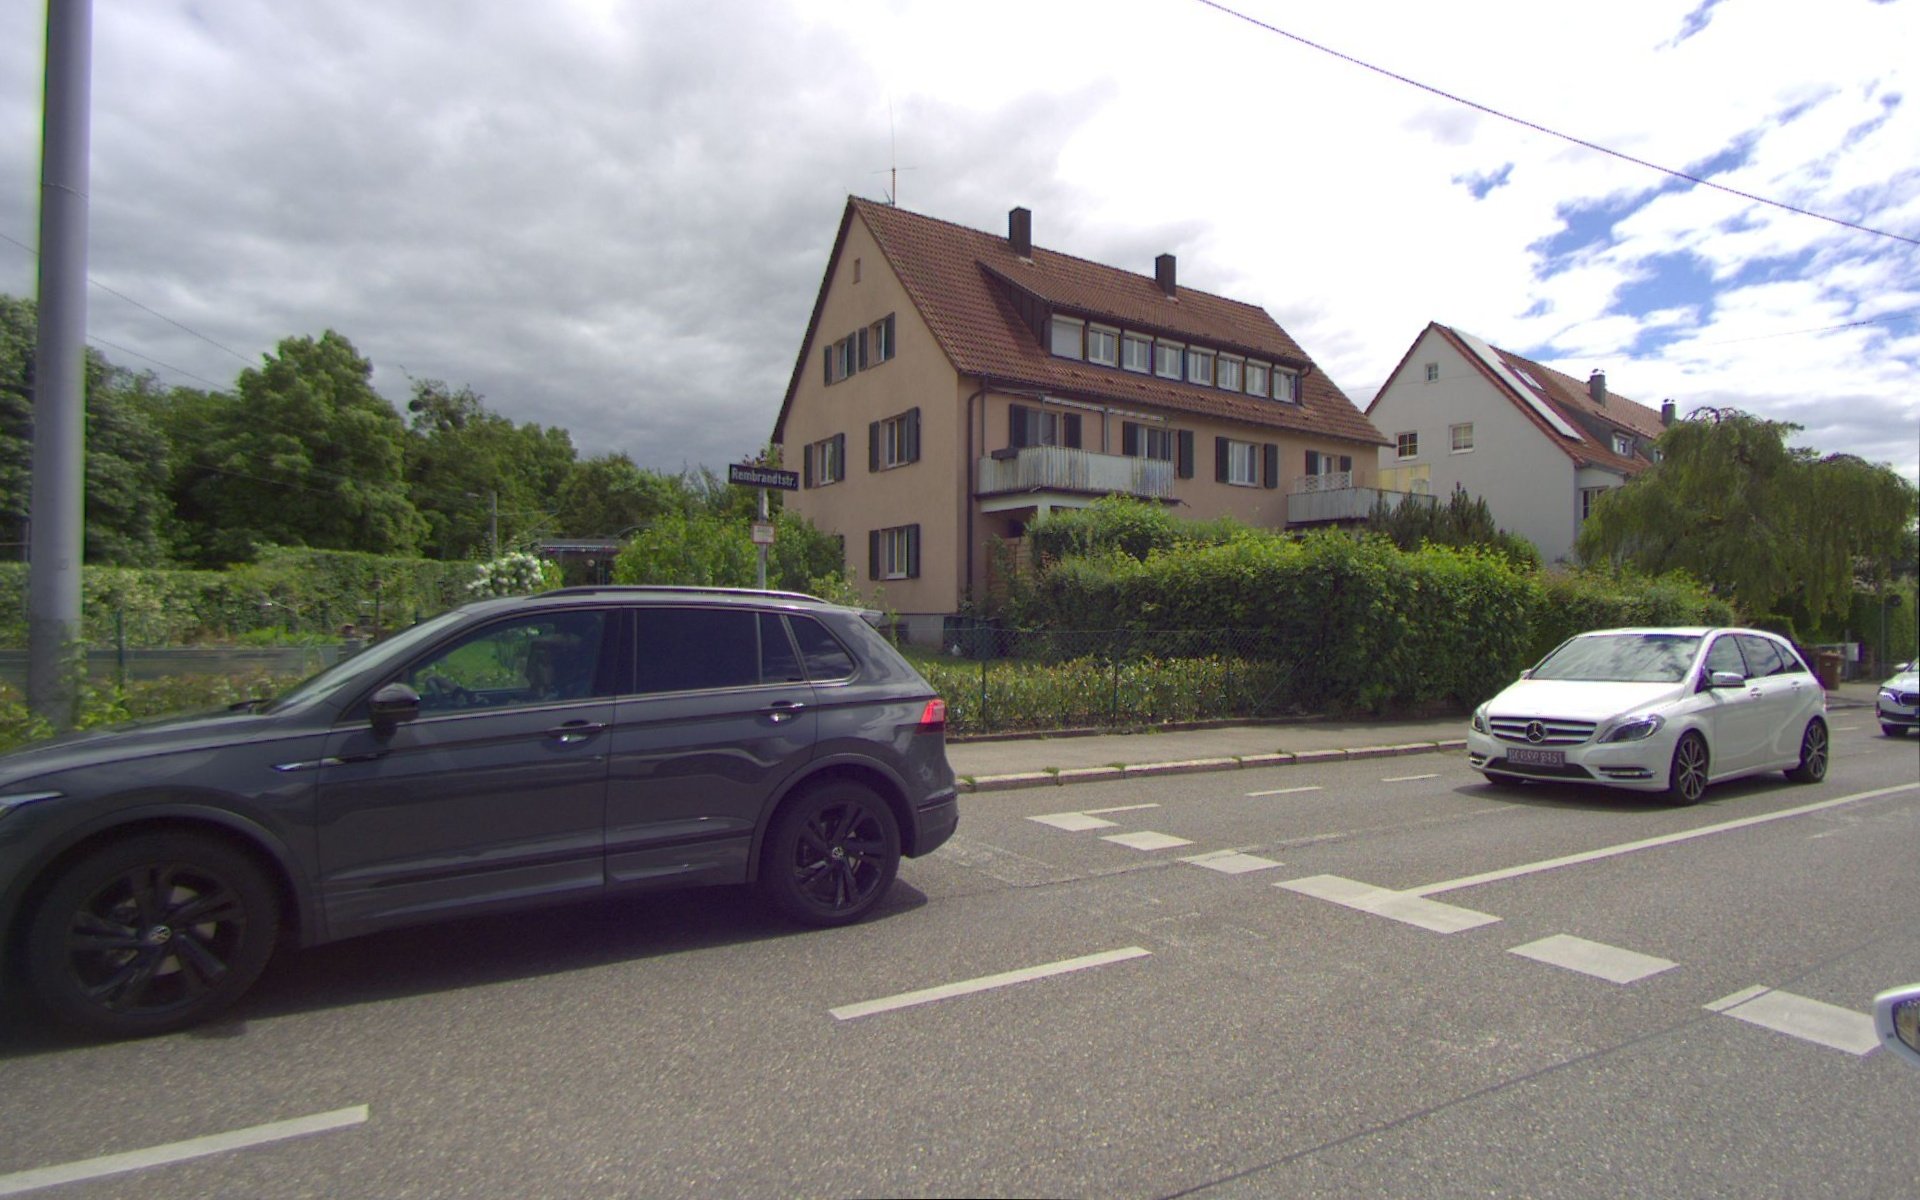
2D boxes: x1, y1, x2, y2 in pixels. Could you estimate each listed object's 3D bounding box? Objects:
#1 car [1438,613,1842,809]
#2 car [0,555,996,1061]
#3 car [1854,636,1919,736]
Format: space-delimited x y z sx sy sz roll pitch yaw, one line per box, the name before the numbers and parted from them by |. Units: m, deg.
car | 6.806 0.983 9.968 4.122 1.582 1.766 2 -3 -32
car | -2.015 0.747 4.947 4.122 1.624 1.766 2 -3 -32
car | 15.960 1.296 15.610 4.469 1.448 1.767 1 -4 -30
